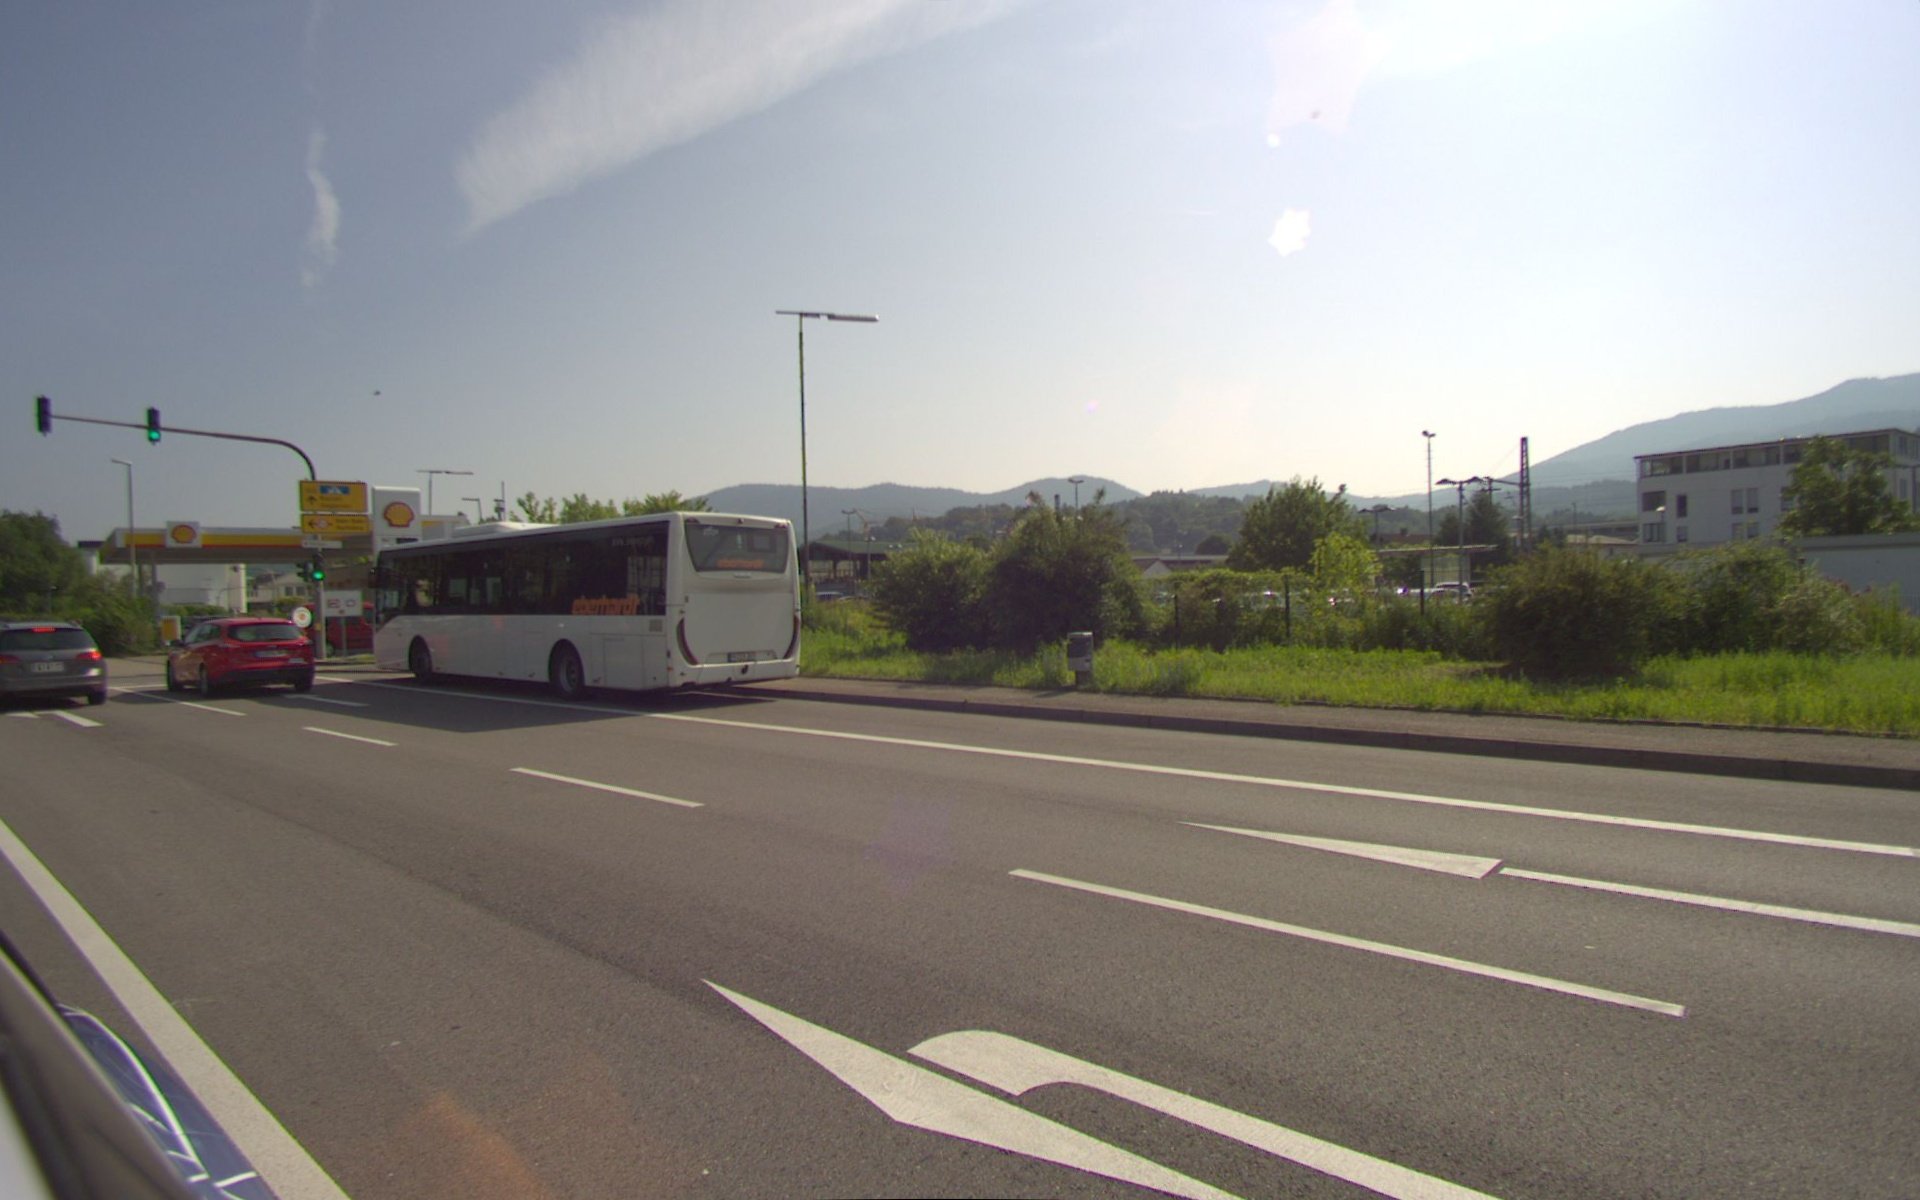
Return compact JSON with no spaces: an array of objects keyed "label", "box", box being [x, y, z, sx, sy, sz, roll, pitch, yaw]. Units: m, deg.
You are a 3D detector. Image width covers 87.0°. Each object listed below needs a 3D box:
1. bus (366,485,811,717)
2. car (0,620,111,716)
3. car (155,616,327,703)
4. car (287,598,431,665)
[{"label":"bus","box":[-7.818,0.075,19.520,11.950,3.335,2.594,-1,0,41]},{"label":"car","box":[-16.484,1.114,17.841,4.218,1.484,1.753,-1,0,42]},{"label":"car","box":[-14.477,1.105,20.289,4.429,1.503,1.818,-1,0,41]},{"label":"car","box":[-19.926,1.002,33.636,3.733,1.808,1.703,-6,3,-44]}]
